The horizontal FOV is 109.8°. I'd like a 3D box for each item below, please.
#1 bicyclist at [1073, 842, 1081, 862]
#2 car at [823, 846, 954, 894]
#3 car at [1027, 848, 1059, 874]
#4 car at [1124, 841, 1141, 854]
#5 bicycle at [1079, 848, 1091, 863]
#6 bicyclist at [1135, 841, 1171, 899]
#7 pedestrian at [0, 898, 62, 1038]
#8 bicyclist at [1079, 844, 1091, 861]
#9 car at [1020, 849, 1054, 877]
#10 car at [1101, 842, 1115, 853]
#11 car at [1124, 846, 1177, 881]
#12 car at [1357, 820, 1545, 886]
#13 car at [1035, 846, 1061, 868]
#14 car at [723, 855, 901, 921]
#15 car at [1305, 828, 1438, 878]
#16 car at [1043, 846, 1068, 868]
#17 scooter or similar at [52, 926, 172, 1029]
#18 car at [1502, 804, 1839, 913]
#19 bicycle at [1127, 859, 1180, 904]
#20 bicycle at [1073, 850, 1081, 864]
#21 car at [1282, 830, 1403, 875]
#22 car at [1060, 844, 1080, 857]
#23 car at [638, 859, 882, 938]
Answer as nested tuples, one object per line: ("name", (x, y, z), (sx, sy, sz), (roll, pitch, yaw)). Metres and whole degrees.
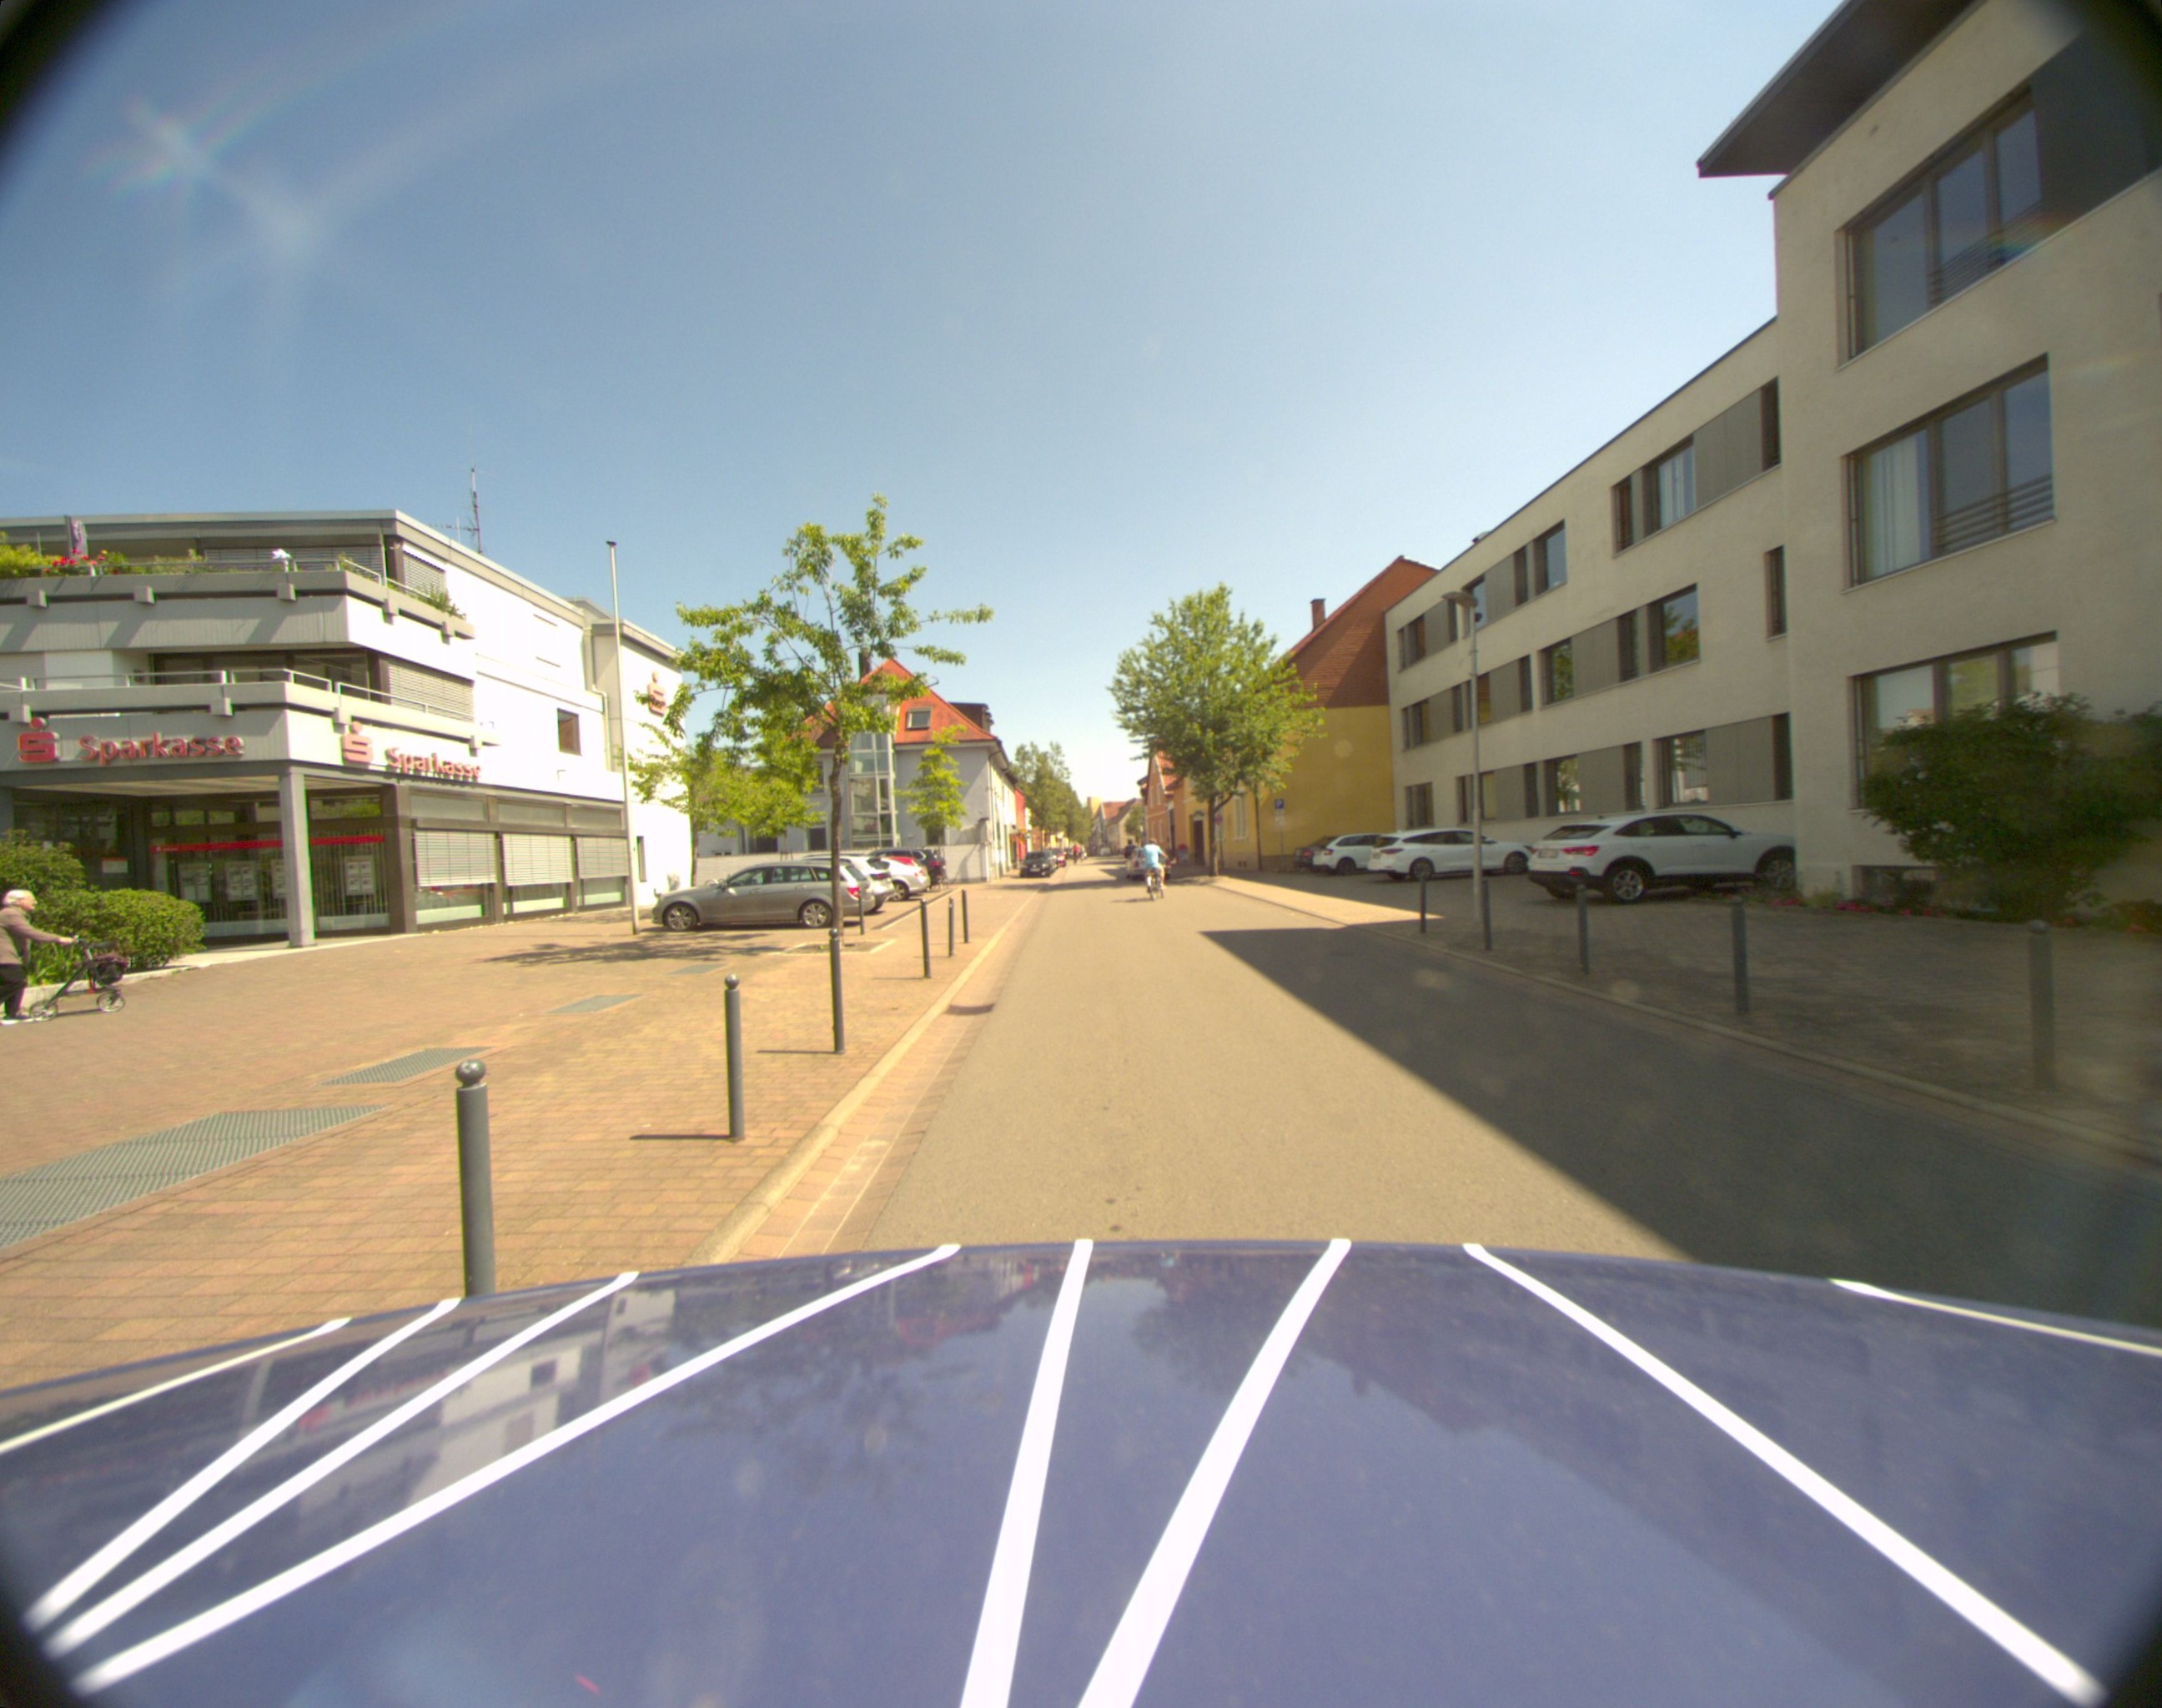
("bicyclist", (-0.359, -0.174, 65.978), (0.645, 1.766, 0.722), (-1, 0, 2))
("car", (-7.474, 0.607, 29.907), (4.643, 1.761, 2.147), (-1, 0, -3))
("car", (-2.381, 0.416, 48.242), (1.721, 1.473, 4.095), (-2, 1, 1))
("car", (6.812, -0.849, 100.091), (1.863, 1.620, 4.048), (-3, 1, 7))
("bicycle", (0.397, 0.173, 73.280), (0.959, 1.363, 2.406), (-2, 1, 4))
("bicyclist", (1.942, 0.425, 20.318), (0.669, 1.518, 0.763), (-1, 1, 29))
("pedestrian", (-12.071, 1.269, 8.443), (0.667, 1.488, 0.812), (-3, 1, 36))
("bicyclist", (0.376, -0.156, 73.118), (1.028, 1.635, 1.025), (-2, 1, 3))
("car", (-2.391, 0.469, 42.451), (1.708, 1.473, 3.920), (-1, 1, -1))
("car", (5.816, -1.357, 162.877), (2.443, 2.224, 4.958), (-3, 1, -3))
("car", (3.071, 0.397, 34.359), (1.885, 1.455, 4.435), (-1, 1, -1))
("car", (10.747, -0.048, 22.280), (4.515, 1.545, 1.934), (-4, 2, 0))
("car", (-2.388, 0.223, 56.035), (1.741, 1.504, 3.735), (-2, 0, -1))
("car", (-6.865, 0.834, 19.769), (3.998, 1.564, 1.856), (0, 1, -4))
("car", (10.366, -0.044, 27.329), (3.997, 1.443, 1.807), (-4, 0, 0))
("car", (-2.137, 0.185, 62.161), (1.834, 1.579, 4.086), (-4, 1, -3))
("scooter or similar", (-11.575, 1.447, 9.084), (0.589, 1.069, 0.807), (-2, 1, 35))
("car", (10.632, 0.063, 13.983), (4.518, 1.545, 2.147), (-4, 1, -2))
("bicycle", (1.971, 0.714, 20.359), (0.674, 1.103, 1.899), (-1, 1, 29))
("bicycle", (-0.352, 0.250, 65.945), (0.635, 1.227, 1.894), (-1, -1, 2))
("car", (10.260, -0.052, 29.998), (3.998, 1.423, 1.971), (-4, 0, -4))
("car", (-1.412, -0.439, 100.257), (1.928, 1.594, 4.110), (-3, 1, 7))
("car", (-6.931, 0.917, 16.877), (4.589, 1.504, 1.915), (-1, 1, -6))
